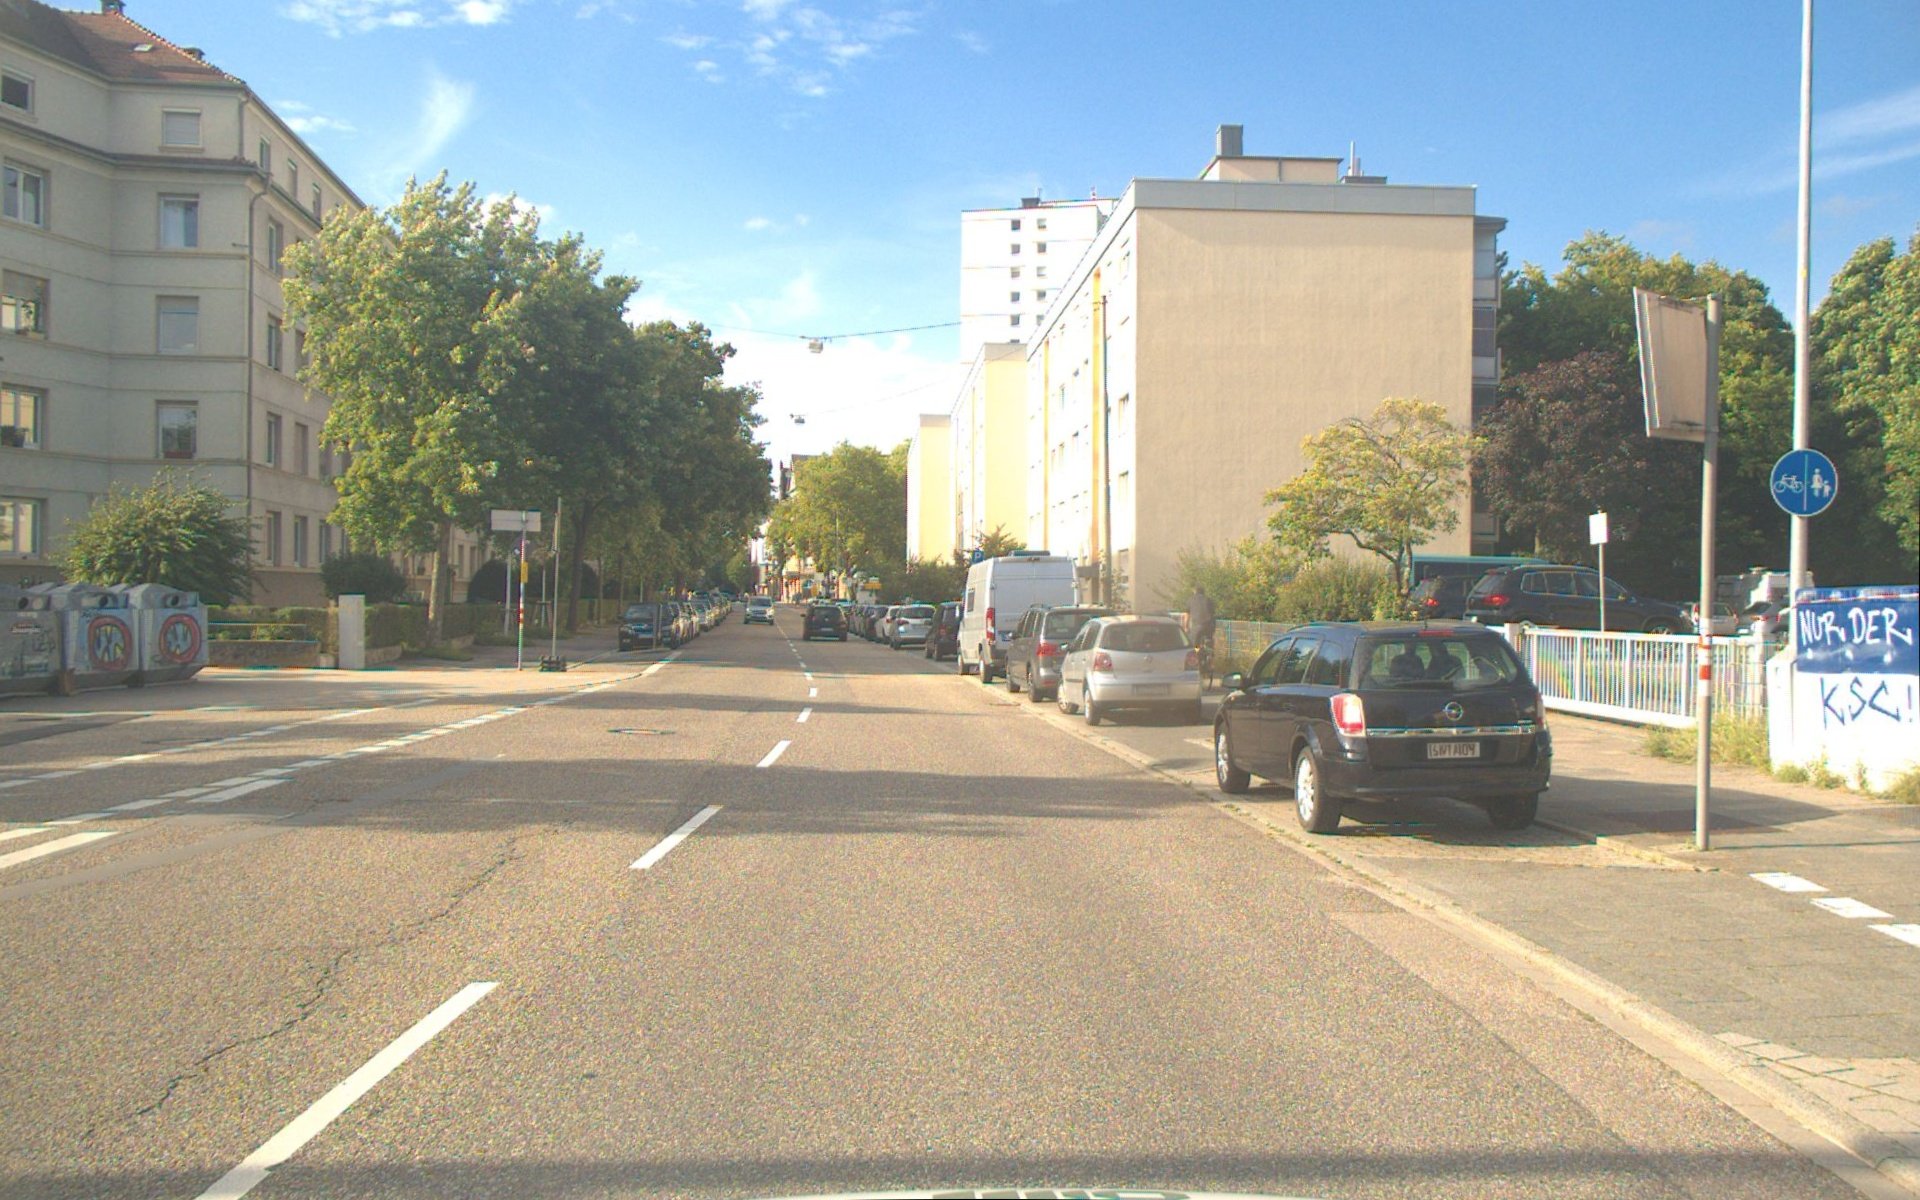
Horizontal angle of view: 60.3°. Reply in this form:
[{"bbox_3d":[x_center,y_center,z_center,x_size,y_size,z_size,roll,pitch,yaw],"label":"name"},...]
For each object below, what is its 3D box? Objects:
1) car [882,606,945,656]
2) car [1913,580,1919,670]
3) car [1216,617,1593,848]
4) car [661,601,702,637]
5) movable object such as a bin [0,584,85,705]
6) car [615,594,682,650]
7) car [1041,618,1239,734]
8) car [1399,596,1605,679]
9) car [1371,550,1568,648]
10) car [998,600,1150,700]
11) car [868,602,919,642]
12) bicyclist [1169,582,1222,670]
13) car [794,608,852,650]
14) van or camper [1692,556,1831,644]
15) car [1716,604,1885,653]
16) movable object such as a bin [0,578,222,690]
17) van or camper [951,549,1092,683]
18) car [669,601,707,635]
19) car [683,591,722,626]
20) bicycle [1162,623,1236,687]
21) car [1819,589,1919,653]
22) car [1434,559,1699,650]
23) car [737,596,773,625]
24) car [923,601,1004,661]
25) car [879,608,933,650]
[{"bbox_3d":[-1.625,1.026,56.778,1.954,1.601,3.996,0,0,-4],"label":"car"},{"bbox_3d":[16.826,0.399,25.270,1.955,1.467,3.995,0,0,-6],"label":"car"},{"bbox_3d":[3.289,0.904,13.117,1.683,1.522,4.266,0,-1,-3],"label":"car"},{"bbox_3d":[-11.366,0.771,67.449,1.607,1.414,3.426,0,0,-10],"label":"car"},{"bbox_3d":[-14.971,0.615,24.675,3.037,1.738,1.549,1,-1,11],"label":"movable object such as a bin"},{"bbox_3d":[-9.611,0.656,51.296,1.957,1.668,3.991,0,0,-10],"label":"car"},{"bbox_3d":[2.523,1.032,24.435,1.976,1.500,4.796,-1,-1,-5],"label":"car"},{"bbox_3d":[11.969,0.802,36.706,3.905,1.769,2.000,0,0,0],"label":"car"},{"bbox_3d":[12.001,-0.025,39.144,4.035,2.224,2.000,0,0,0],"label":"car"},{"bbox_3d":[1.946,0.823,29.656,1.955,1.644,4.401,0,0,-7],"label":"car"},{"bbox_3d":[-2.815,0.905,69.314,1.954,1.601,3.996,0,0,-4],"label":"car"},{"bbox_3d":[4.248,0.474,29.893,0.722,1.540,0.874,-2,-1,-4],"label":"bicyclist"},{"bbox_3d":[-5.617,1.158,67.467,1.957,1.598,3.990,1,0,-10],"label":"car"},{"bbox_3d":[27.795,-0.005,57.563,2.282,2.925,5.120,0,0,-1],"label":"van or camper"},{"bbox_3d":[24.200,0.797,47.703,3.910,1.352,1.998,0,0,-6],"label":"car"},{"bbox_3d":[-14.167,0.555,27.635,3.037,1.738,1.411,1,-1,10],"label":"movable object such as a bin"},{"bbox_3d":[1.223,0.308,35.556,2.168,2.653,5.362,0,0,-7],"label":"van or camper"},{"bbox_3d":[-13.379,0.874,81.320,1.774,1.588,3.426,-1,0,-10],"label":"car"},{"bbox_3d":[-15.155,0.490,97.587,1.954,2.049,3.996,0,0,-4],"label":"car"},{"bbox_3d":[4.274,0.970,29.793,0.725,1.053,2.760,-2,0,-4],"label":"bicycle"},{"bbox_3d":[24.471,0.514,42.379,3.909,1.579,1.998,0,0,-5],"label":"car"},{"bbox_3d":[11.534,0.089,31.673,4.357,1.650,2.000,0,0,0],"label":"car"},{"bbox_3d":[-12.613,0.623,101.644,2.018,1.692,3.917,-1,0,-10],"label":"car"},{"bbox_3d":[0.049,0.831,46.518,1.954,1.601,3.996,0,0,-4],"label":"car"},{"bbox_3d":[-2.152,1.096,64.729,1.954,1.557,3.996,0,0,-4],"label":"car"}]
